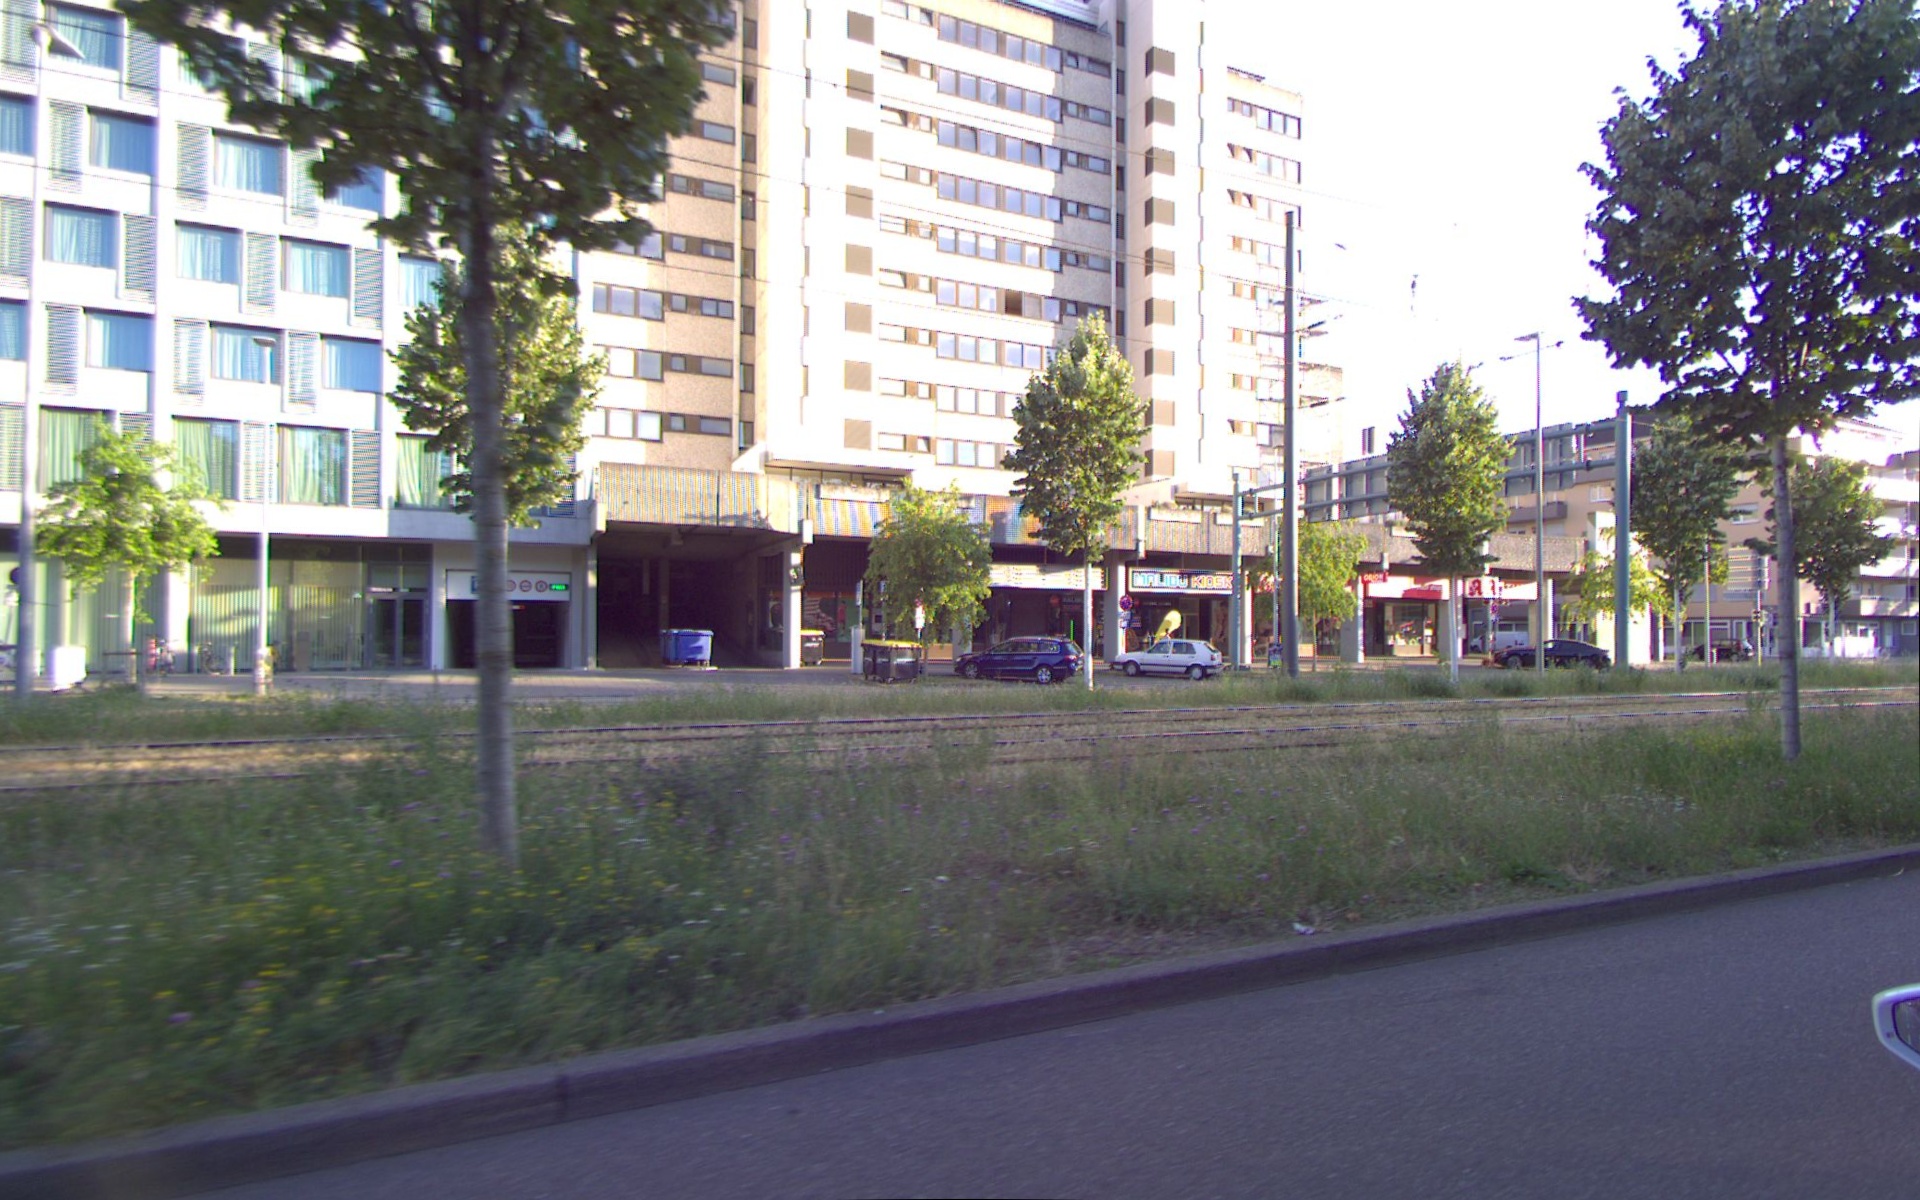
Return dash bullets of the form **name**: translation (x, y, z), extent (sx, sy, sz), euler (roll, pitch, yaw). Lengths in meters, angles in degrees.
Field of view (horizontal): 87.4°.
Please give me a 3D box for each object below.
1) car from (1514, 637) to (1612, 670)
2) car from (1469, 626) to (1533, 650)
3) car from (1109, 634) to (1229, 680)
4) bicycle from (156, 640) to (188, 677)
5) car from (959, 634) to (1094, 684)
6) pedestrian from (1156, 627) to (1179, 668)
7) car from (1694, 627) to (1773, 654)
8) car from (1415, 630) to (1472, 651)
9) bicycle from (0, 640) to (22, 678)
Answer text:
- **car**: translation (27.686, 2.439, 46.266), extent (3.659, 1.469, 1.743), euler (-1, -2, 24)
- **car**: translation (46.662, 3.287, 86.714), extent (2.137, 2.016, 4.474), euler (1, -2, -25)
- **car**: translation (7.801, 2.100, 37.566), extent (4.054, 1.455, 1.823), euler (1, 0, 27)
- **bicycle**: translation (-22.932, 1.687, 29.246), extent (0.416, 1.033, 1.780), euler (1, -2, -28)
- **car**: translation (2.282, 1.993, 34.652), extent (4.205, 1.611, 2.007), euler (0, -2, 26)
- **pedestrian**: translation (8.750, 2.004, 42.341), extent (0.652, 1.683, 0.662), euler (1, 2, -24)
- **car**: translation (55.290, 2.851, 71.890), extent (2.162, 1.870, 3.922), euler (1, -2, -25)
- **car**: translation (44.192, 3.687, 91.889), extent (2.088, 1.779, 4.316), euler (1, -2, -25)
- **bicycle**: translation (-26.632, 1.633, 27.878), extent (0.416, 1.033, 1.780), euler (1, -2, -28)
